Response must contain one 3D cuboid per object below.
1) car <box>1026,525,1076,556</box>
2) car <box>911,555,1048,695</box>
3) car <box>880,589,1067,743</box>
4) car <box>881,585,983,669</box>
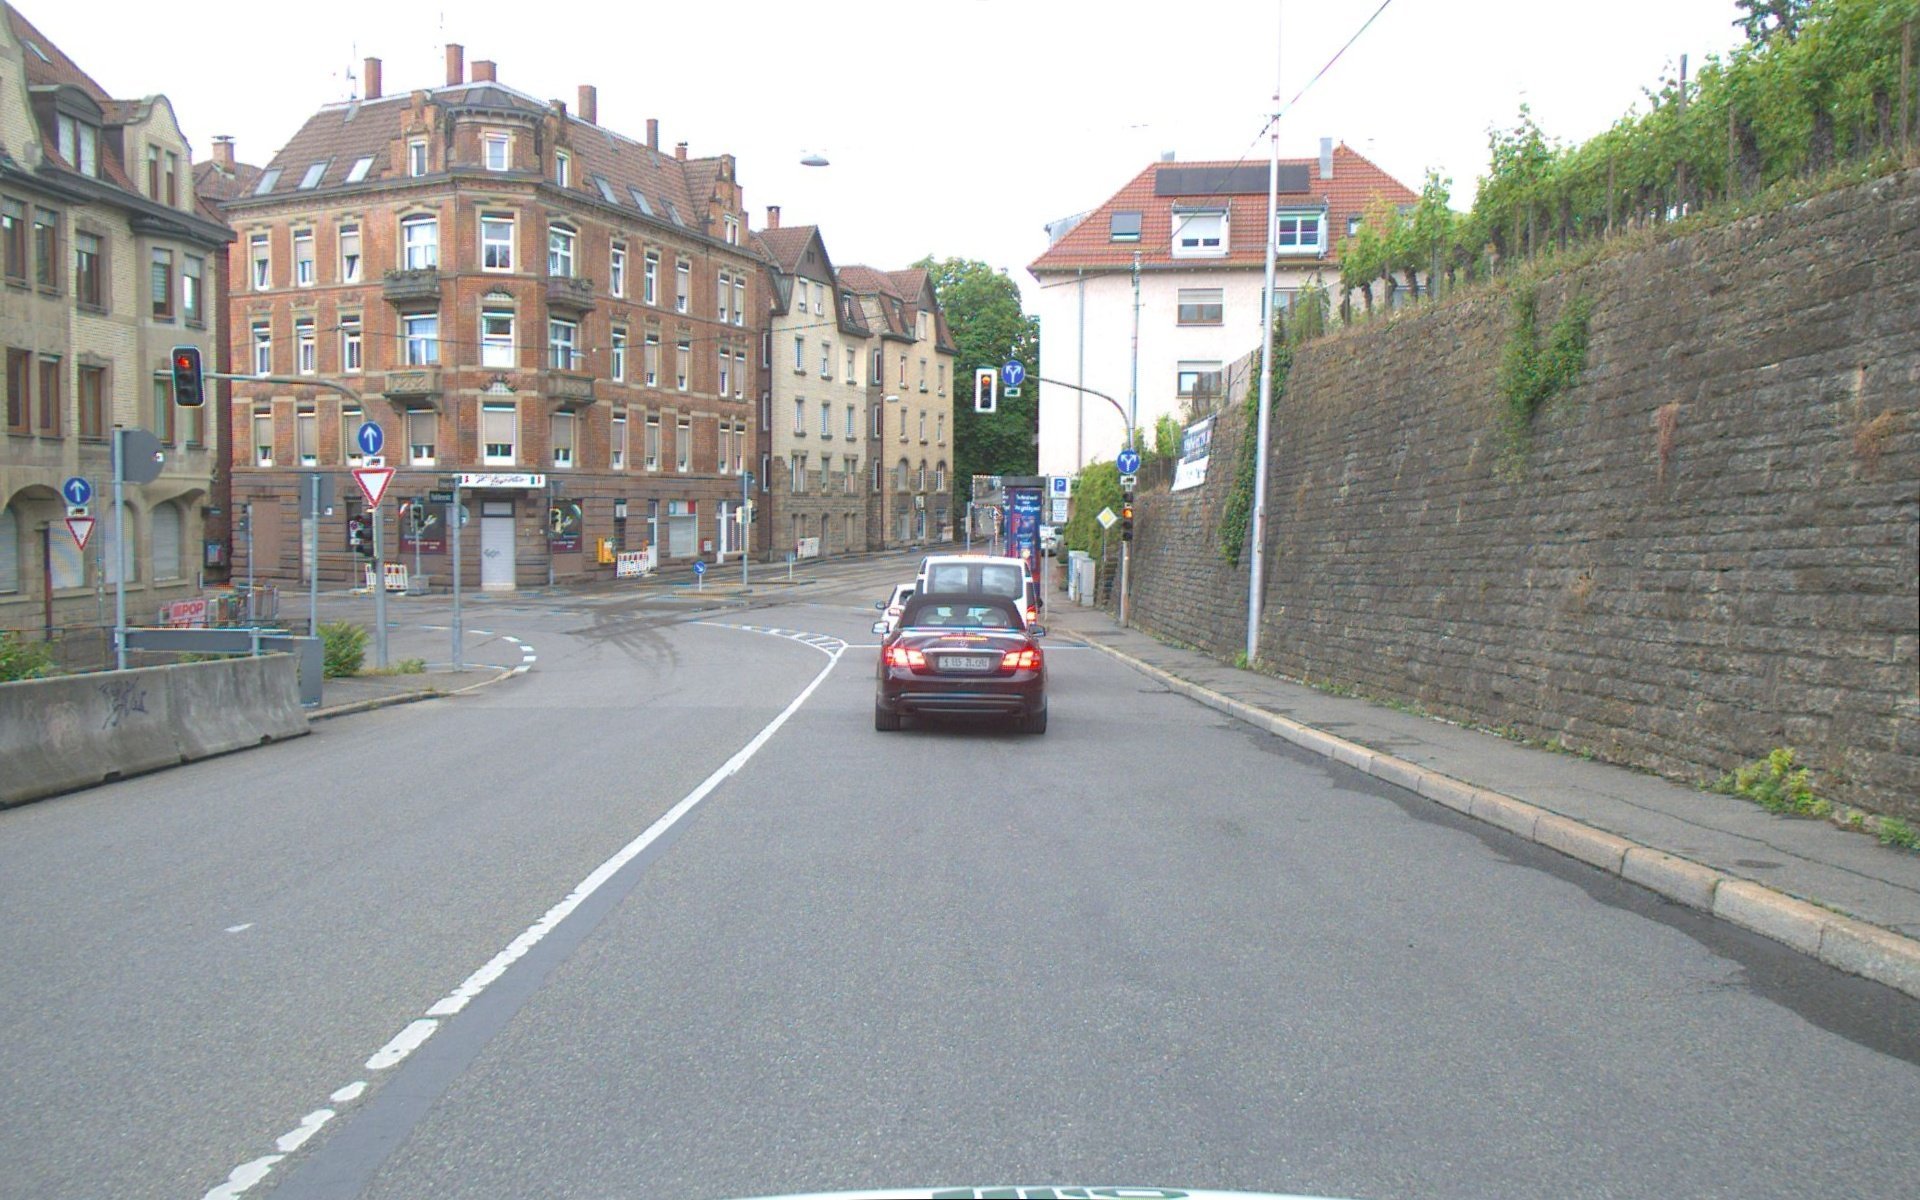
[{"bbox_3d":[5.229,-3.394,94.779,1.803,1.731,4.002,1,2,20],"label":"car"},{"bbox_3d":[0.216,0.334,24.885,1.871,1.917,3.999,1,0,-2],"label":"car"},{"bbox_3d":[0.071,0.620,17.877,1.780,1.455,3.999,1,0,-2],"label":"car"},{"bbox_3d":[-0.565,0.463,31.614,1.804,1.466,3.999,1,1,-2],"label":"car"}]
